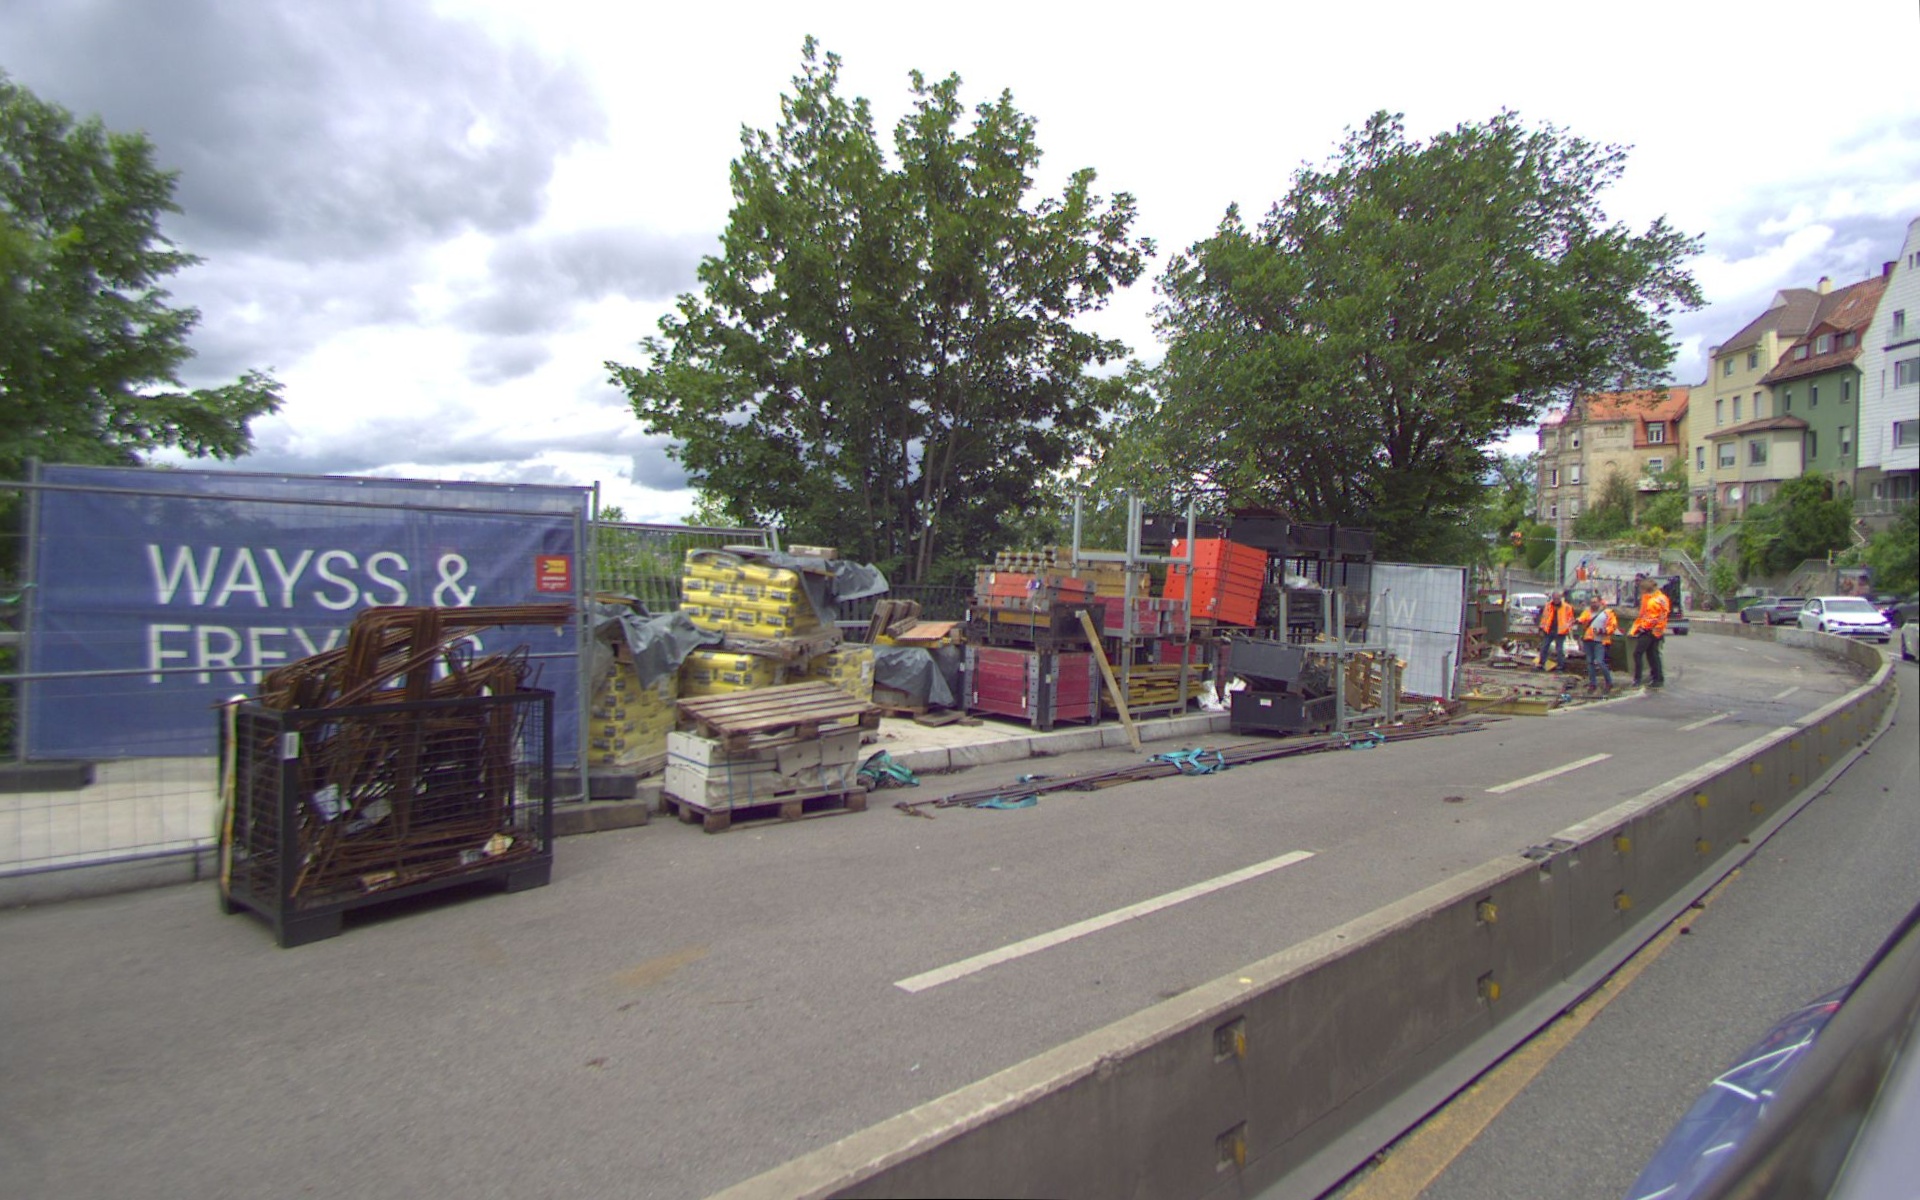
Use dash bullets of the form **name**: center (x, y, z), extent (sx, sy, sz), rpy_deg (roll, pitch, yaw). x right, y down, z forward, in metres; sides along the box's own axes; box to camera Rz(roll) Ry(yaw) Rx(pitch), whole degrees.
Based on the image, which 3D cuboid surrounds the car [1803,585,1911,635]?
- **car**: center (30.939, 0.315, 35.029), extent (1.869, 1.598, 3.961), rpy_deg (-1, 0, 28)

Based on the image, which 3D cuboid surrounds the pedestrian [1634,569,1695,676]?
- **pedestrian**: center (13.052, 0.411, 18.774), extent (0.609, 1.909, 0.717), rpy_deg (3, -1, 8)

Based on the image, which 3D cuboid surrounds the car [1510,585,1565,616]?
- **car**: center (32.866, 0.005, 57.703), extent (1.768, 1.707, 3.981), rpy_deg (-1, 0, 15)

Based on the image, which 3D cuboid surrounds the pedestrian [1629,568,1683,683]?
- **pedestrian**: center (11.900, 0.413, 17.290), extent (0.637, 1.882, 0.824), rpy_deg (4, 3, 37)

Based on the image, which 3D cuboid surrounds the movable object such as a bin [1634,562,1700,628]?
- **movable object such as a bin**: center (29.697, -0.214, 42.598), extent (1.847, 2.628, 3.406), rpy_deg (-1, 0, 28)

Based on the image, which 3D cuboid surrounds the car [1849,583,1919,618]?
- **car**: center (42.925, 0.004, 46.560), extent (1.662, 1.435, 3.766), rpy_deg (-5, -1, 20)

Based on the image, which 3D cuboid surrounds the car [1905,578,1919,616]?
- **car**: center (40.900, -0.167, 41.569), extent (1.750, 1.616, 3.761), rpy_deg (-5, -1, 24)

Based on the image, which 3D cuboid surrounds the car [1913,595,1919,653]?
- **car**: center (22.766, 0.600, 22.622), extent (1.790, 1.322, 4.044), rpy_deg (1, 2, 39)

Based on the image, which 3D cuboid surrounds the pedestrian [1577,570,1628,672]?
- **pedestrian**: center (12.346, 0.405, 19.460), extent (0.725, 1.916, 0.612), rpy_deg (-2, -3, 30)

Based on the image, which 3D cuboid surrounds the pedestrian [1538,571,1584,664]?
- **pedestrian**: center (12.023, 0.342, 20.252), extent (0.639, 1.817, 0.639), rpy_deg (-2, -1, 23)

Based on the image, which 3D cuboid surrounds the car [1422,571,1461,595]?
- **car**: center (43.427, -1.524, 91.364), extent (1.966, 2.128, 4.061), rpy_deg (-1, 0, 7)

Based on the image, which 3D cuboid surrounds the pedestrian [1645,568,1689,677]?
- **pedestrian**: center (12.559, 0.378, 17.962), extent (0.524, 1.865, 0.786), rpy_deg (4, 3, 37)

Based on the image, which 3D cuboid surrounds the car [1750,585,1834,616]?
- **car**: center (41.541, 0.021, 50.632), extent (1.777, 1.489, 4.176), rpy_deg (-1, 0, 18)
